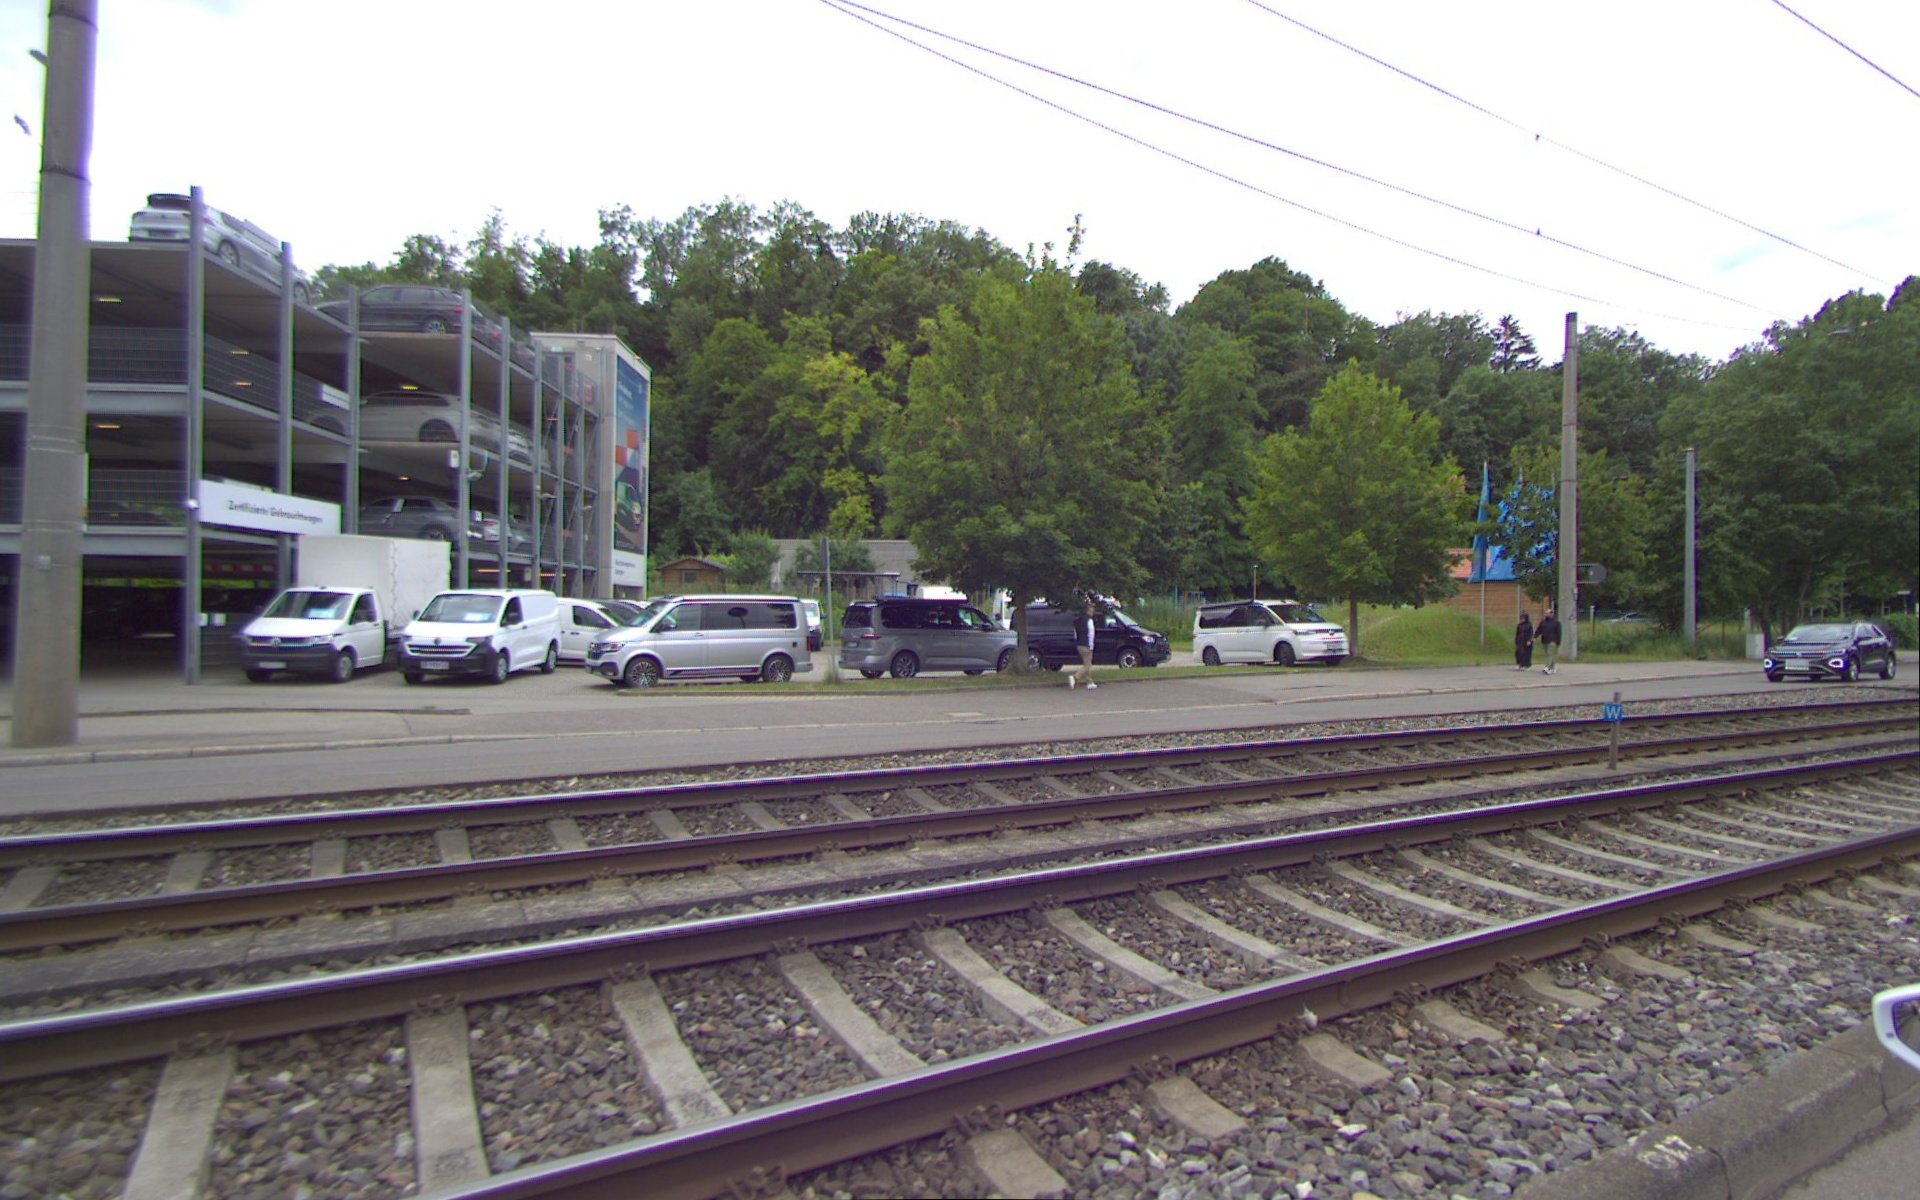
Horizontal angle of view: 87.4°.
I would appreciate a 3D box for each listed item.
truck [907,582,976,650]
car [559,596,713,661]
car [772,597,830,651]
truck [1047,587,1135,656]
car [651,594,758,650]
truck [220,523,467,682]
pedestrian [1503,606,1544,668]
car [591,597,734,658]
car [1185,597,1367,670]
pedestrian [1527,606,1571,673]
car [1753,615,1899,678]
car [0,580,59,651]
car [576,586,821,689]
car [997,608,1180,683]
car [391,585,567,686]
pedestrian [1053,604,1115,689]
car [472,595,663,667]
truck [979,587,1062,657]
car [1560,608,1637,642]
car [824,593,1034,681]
[{"bbox_3d":[-0.850,0.644,41.788,2.422,2.622,5.067,0,0,-6],"label":"truck"},{"bbox_3d":[-10.443,0.912,32.663,4.383,2.040,1.998,0,0,-5],"label":"car"},{"bbox_3d":[-6.477,0.924,40.508,1.947,2.040,4.254,0,0,-14],"label":"car"},{"bbox_3d":[5.249,0.854,41.017,2.422,2.622,5.067,0,0,-6],"label":"truck"},{"bbox_3d":[-10.043,0.805,39.374,4.214,2.041,1.990,1,2,40],"label":"car"},{"bbox_3d":[-13.600,0.075,22.761,2.078,3.126,5.937,0,0,-2],"label":"truck"},{"bbox_3d":[16.269,1.059,29.012,0.845,1.736,0.625,0,2,-29],"label":"pedestrian"},{"bbox_3d":[-10.297,0.933,35.016,4.380,2.040,2.000,0,0,-2],"label":"car"},{"bbox_3d":[8.982,0.887,29.075,2.138,1.913,5.038,1,0,-26],"label":"car"},{"bbox_3d":[16.601,1.093,28.323,0.845,1.837,0.673,0,2,-29],"label":"pedestrian"},{"bbox_3d":[22.873,1.214,26.499,4.208,1.552,1.678,1,-3,-32],"label":"car"},{"bbox_3d":[-27.570,0.412,27.242,4.419,1.929,1.981,1,0,-35],"label":"car"},{"bbox_3d":[-5.694,0.777,22.125,4.867,2.040,1.981,1,0,-34],"label":"car"},{"bbox_3d":[3.792,1.281,29.595,4.974,2.040,2.166,0,0,22],"label":"car"},{"bbox_3d":[-10.616,0.739,22.612,1.962,2.040,4.728,0,0,-4],"label":"car"},{"bbox_3d":[2.570,0.946,20.774,1.033,1.678,0.712,0,3,-39],"label":"pedestrian"},{"bbox_3d":[-10.470,0.823,27.088,4.383,1.855,1.998,0,0,-5],"label":"car"},{"bbox_3d":[2.341,0.859,40.729,2.422,2.622,5.772,0,0,-6],"label":"truck"},{"bbox_3d":[34.503,1.319,54.236,3.954,1.773,1.983,1,0,-31],"label":"car"},{"bbox_3d":[-0.727,0.895,25.563,5.075,2.040,1.982,1,0,-34],"label":"car"}]
